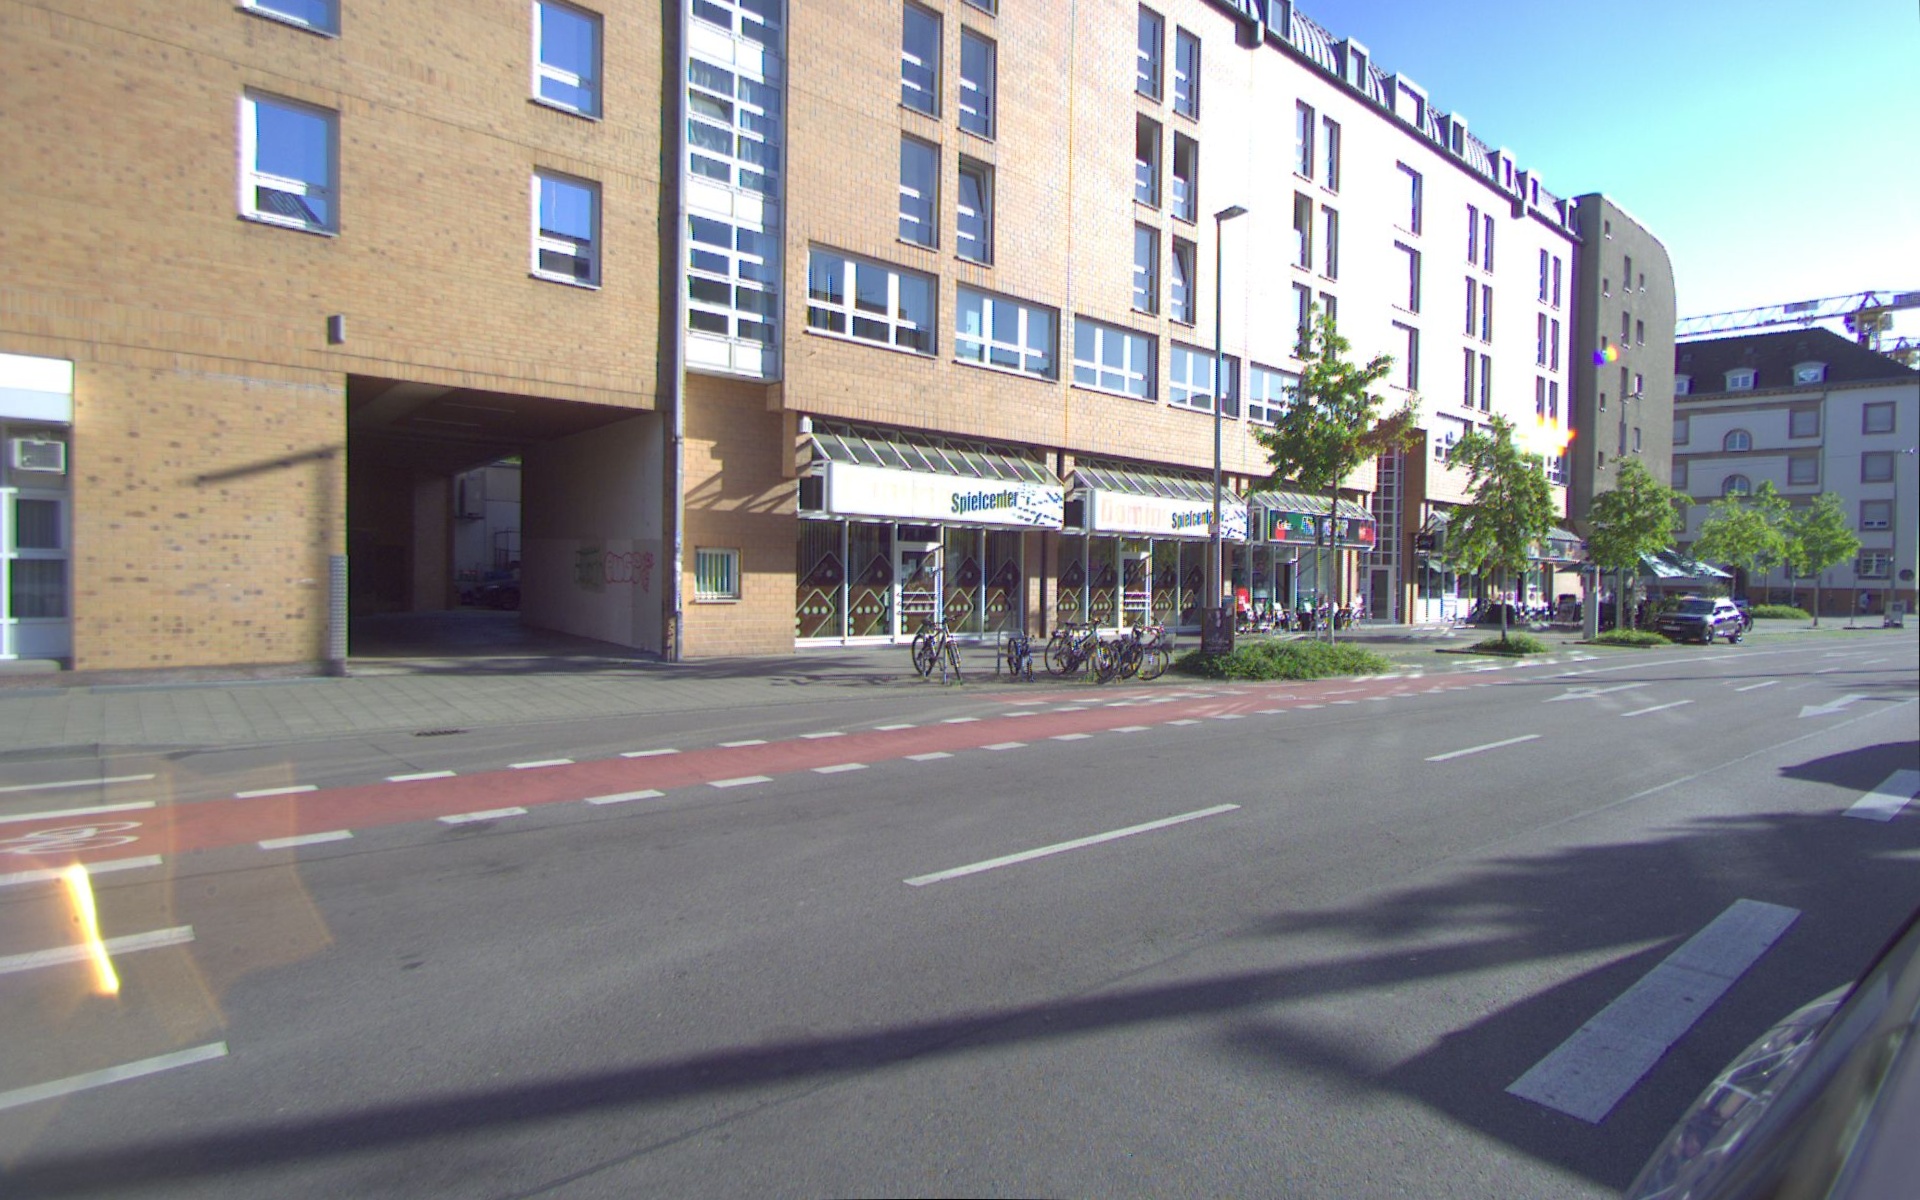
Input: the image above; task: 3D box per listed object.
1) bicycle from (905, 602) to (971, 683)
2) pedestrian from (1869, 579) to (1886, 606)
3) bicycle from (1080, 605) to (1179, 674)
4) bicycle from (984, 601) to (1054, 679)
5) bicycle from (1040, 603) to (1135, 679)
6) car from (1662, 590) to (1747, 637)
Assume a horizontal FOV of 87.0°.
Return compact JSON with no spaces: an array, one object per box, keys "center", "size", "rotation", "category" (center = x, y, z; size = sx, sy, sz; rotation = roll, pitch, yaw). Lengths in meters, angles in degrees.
[{"center":[-0.389,0.664,16.761],"size":[0.541,1.162,1.780],"rotation":[-1,3,-20],"category":"bicycle"},{"center":[59.264,-0.501,65.365],"size":[0.801,1.687,0.878],"rotation":[2,1,42],"category":"pedestrian"},{"center":[3.081,0.694,18.539],"size":[0.724,1.084,1.775],"rotation":[-2,4,-37],"category":"bicycle"},{"center":[0.978,0.647,17.231],"size":[0.541,1.162,1.780],"rotation":[-1,3,-20],"category":"bicycle"},{"center":[2.205,0.684,17.704],"size":[0.543,1.155,1.775],"rotation":[-2,4,-37],"category":"bicycle"},{"center":[26.410,0.440,35.874],"size":[3.628,1.549,1.654],"rotation":[-1,1,-40],"category":"car"}]
